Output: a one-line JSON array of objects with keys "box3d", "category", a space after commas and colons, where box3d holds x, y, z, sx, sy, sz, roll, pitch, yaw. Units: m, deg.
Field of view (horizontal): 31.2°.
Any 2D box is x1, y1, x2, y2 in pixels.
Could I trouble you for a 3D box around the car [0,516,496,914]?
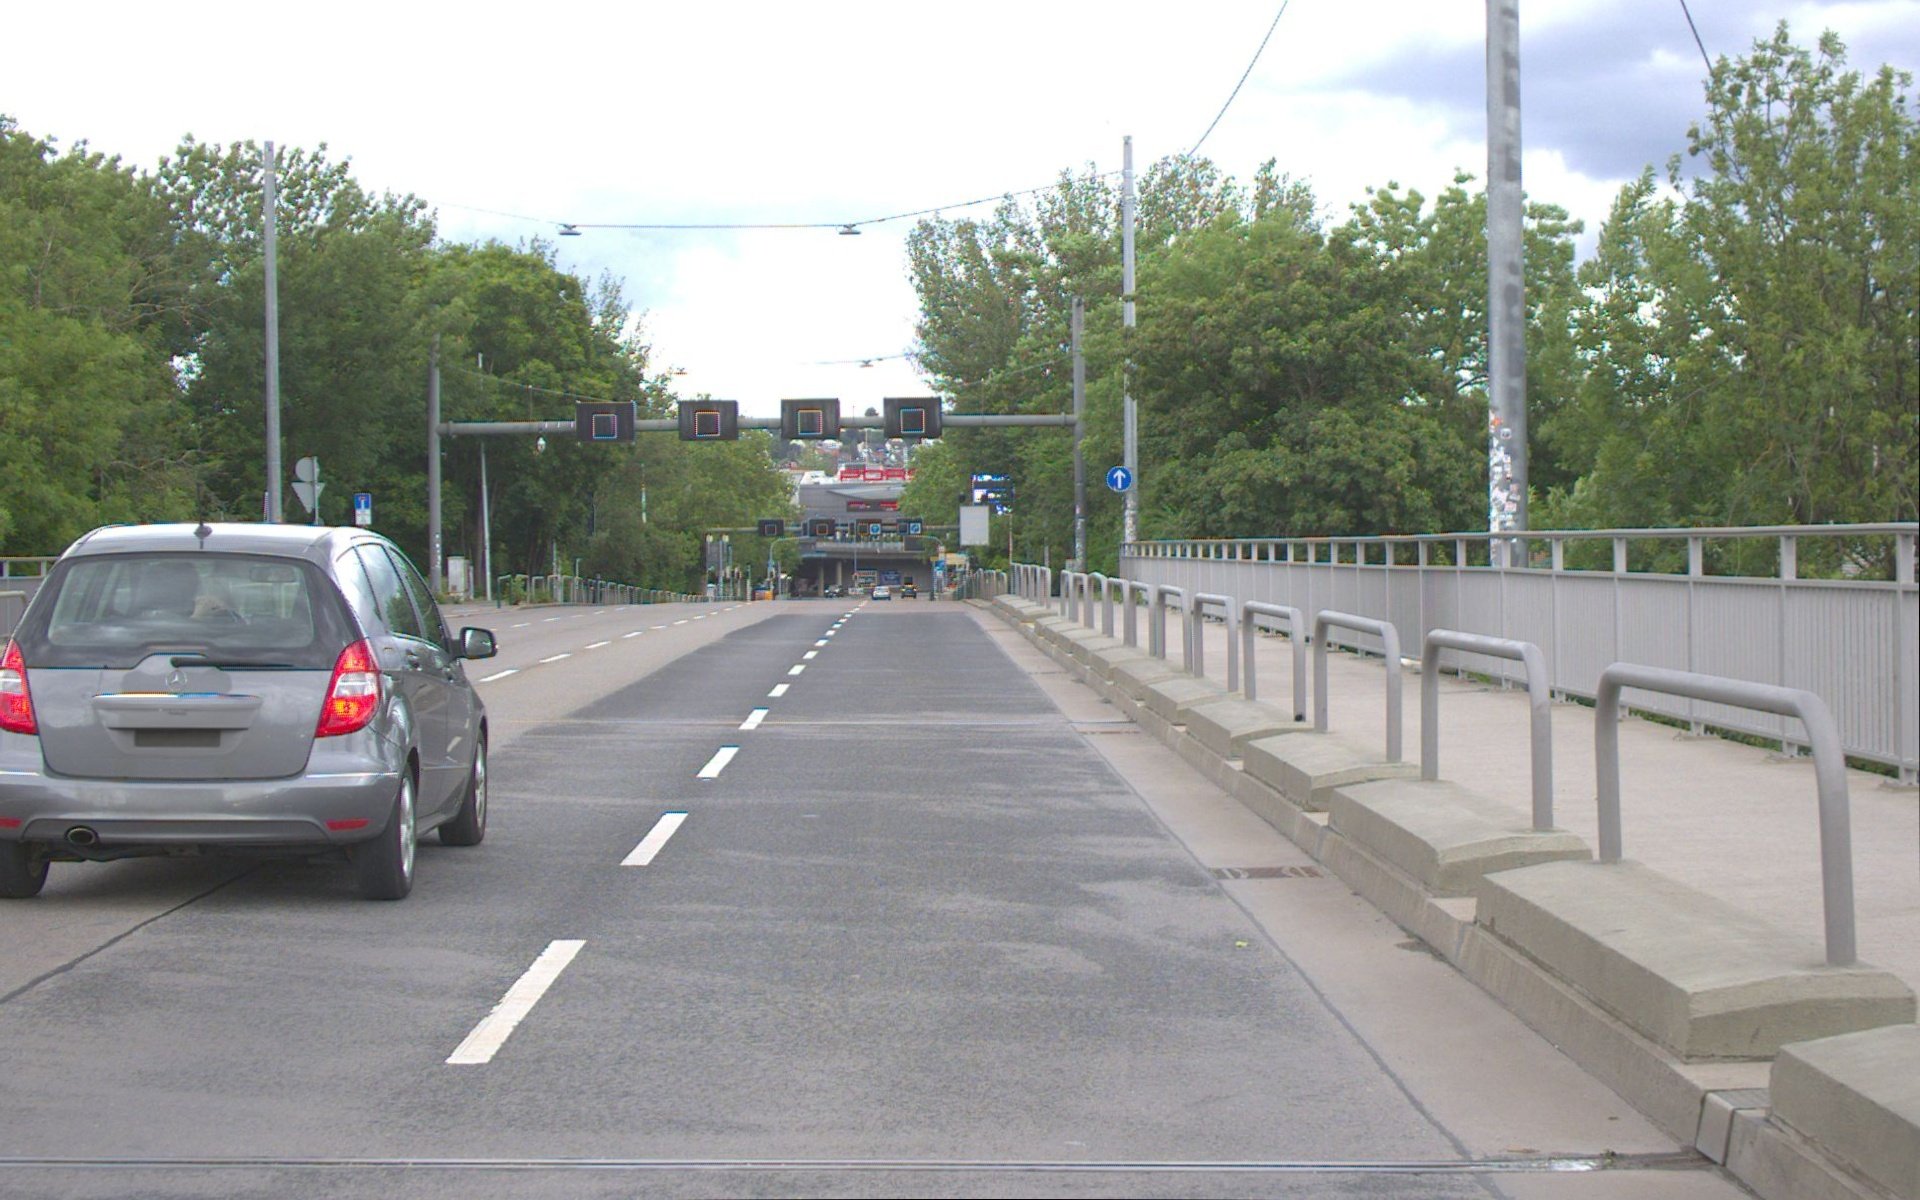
[{"box3d": [-3.184, 0.408, 15.490, 1.745, 1.545, 3.872, 0, 2, -1], "category": "car"}]
